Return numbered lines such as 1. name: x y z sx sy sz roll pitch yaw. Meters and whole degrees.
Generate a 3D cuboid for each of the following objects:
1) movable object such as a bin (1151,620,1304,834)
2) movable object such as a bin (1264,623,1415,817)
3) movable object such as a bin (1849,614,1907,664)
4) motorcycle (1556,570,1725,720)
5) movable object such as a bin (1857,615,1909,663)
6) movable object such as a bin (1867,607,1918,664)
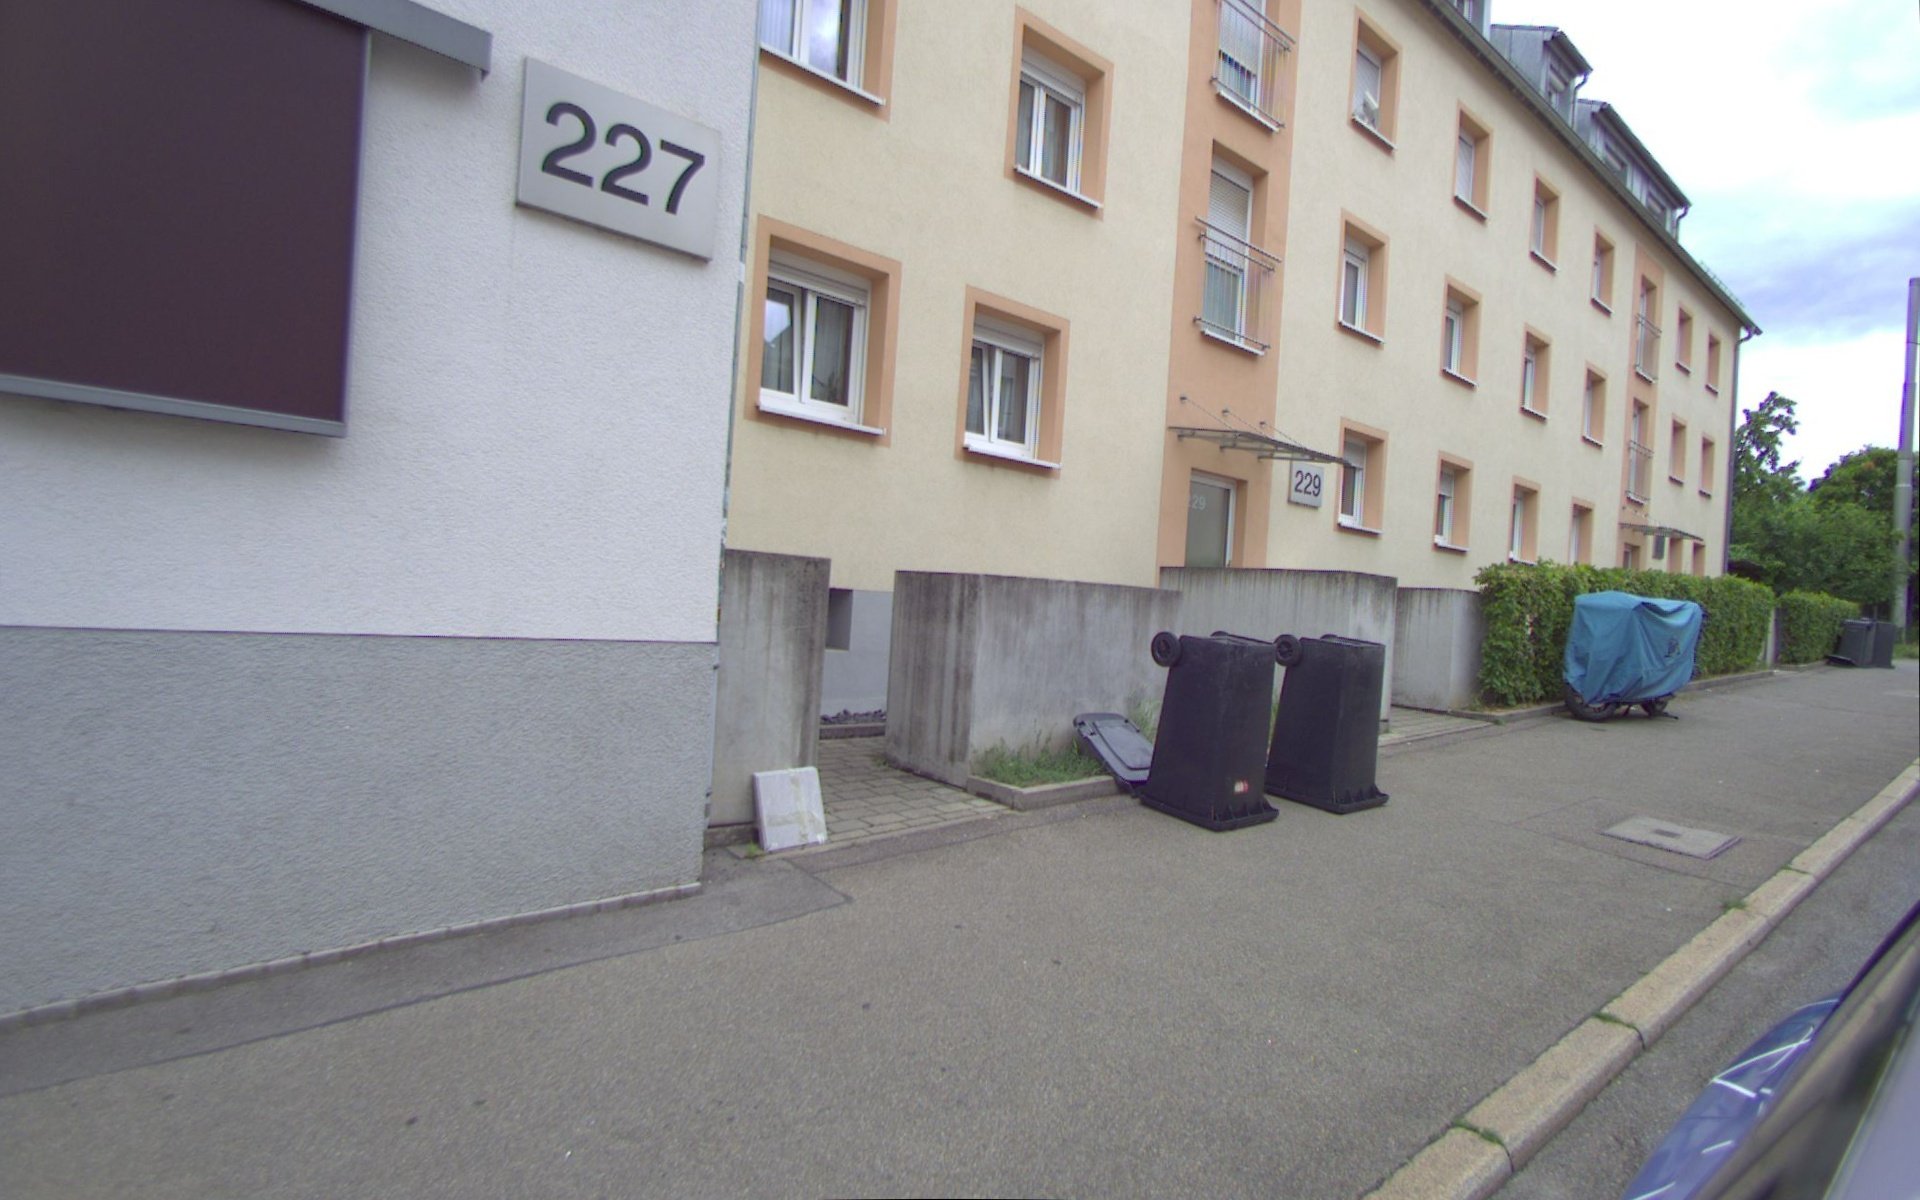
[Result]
1. movable object such as a bin: 1.512 0.676 5.738 0.531 1.093 0.613 1 1 -39
2. movable object such as a bin: 2.372 0.710 6.336 0.679 1.093 0.590 1 1 -39
3. movable object such as a bin: 20.080 0.833 22.133 0.775 1.024 0.794 1 1 -39
4. motorcycle: 7.533 0.446 11.143 2.507 1.475 0.840 1 1 -40
5. movable object such as a bin: 20.756 0.861 22.762 0.776 1.024 0.792 1 1 -44
6. movable object such as a bin: 21.441 0.797 23.273 0.776 1.233 0.792 1 1 -44
